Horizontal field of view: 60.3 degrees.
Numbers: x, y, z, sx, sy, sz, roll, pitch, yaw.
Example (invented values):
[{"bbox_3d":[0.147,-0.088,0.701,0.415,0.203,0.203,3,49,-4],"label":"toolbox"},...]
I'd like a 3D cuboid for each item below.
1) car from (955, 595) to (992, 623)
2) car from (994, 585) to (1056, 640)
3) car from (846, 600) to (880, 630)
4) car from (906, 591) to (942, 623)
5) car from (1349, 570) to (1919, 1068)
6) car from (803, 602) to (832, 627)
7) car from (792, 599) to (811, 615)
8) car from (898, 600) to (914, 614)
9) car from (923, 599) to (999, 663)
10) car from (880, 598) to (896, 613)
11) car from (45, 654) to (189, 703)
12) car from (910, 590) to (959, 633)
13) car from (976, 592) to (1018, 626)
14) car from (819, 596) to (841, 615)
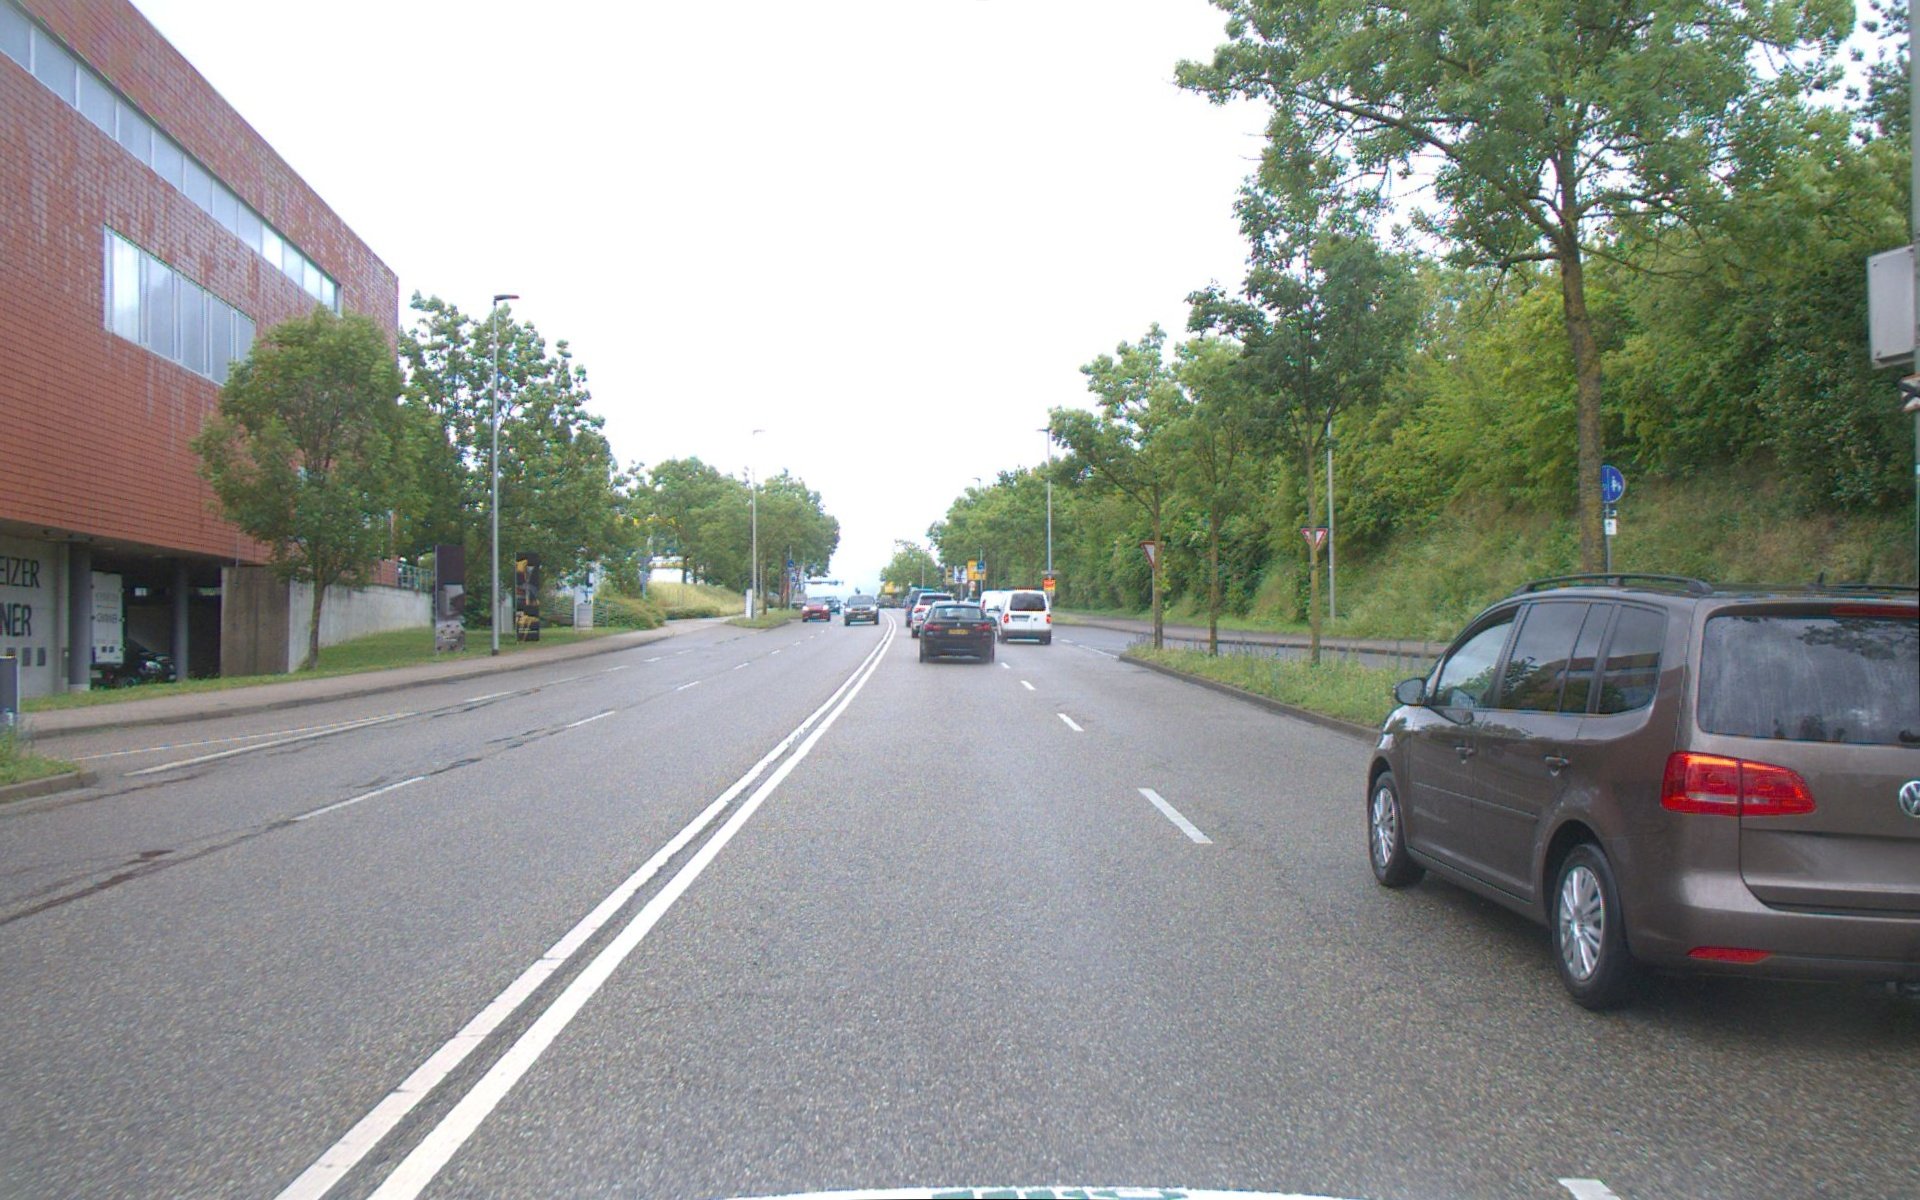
[{"bbox_3d":[0.719,0.513,93.443,1.759,1.537,3.996,1,-1,-4],"label":"car"},{"bbox_3d":[2.204,0.417,57.234,1.790,1.790,3.998,1,0,-2],"label":"car"},{"bbox_3d":[-5.340,0.823,90.730,1.759,1.537,3.996,1,-1,-4],"label":"car"},{"bbox_3d":[-1.817,0.374,83.503,1.758,1.537,3.999,1,-1,-1],"label":"car"},{"bbox_3d":[3.154,0.721,7.502,1.651,1.609,4.217,1,0,-2],"label":"car"},{"bbox_3d":[-9.197,0.949,106.740,1.759,1.537,3.996,1,-1,-4],"label":"car"},{"bbox_3d":[-15.965,0.699,166.429,1.759,1.537,3.996,1,-1,-4],"label":"car"},{"bbox_3d":[-6.471,0.824,198.420,1.758,1.537,3.998,1,-1,-3],"label":"car"},{"bbox_3d":[0.006,0.733,40.902,1.790,1.494,4.000,0,0,0],"label":"car"},{"bbox_3d":[-8.153,0.632,187.217,1.758,1.537,3.998,1,-1,-3],"label":"car"},{"bbox_3d":[-25.033,2.315,49.152,3.463,1.307,1.521,1,-1,2],"label":"car"},{"bbox_3d":[-1.002,0.445,62.995,1.758,1.537,3.998,1,-1,-2],"label":"car"},{"bbox_3d":[1.751,0.461,78.757,1.758,1.537,3.998,1,-1,-2],"label":"car"},{"bbox_3d":[-10.992,0.461,139.840,1.759,1.537,3.996,1,-1,-4],"label":"car"}]
